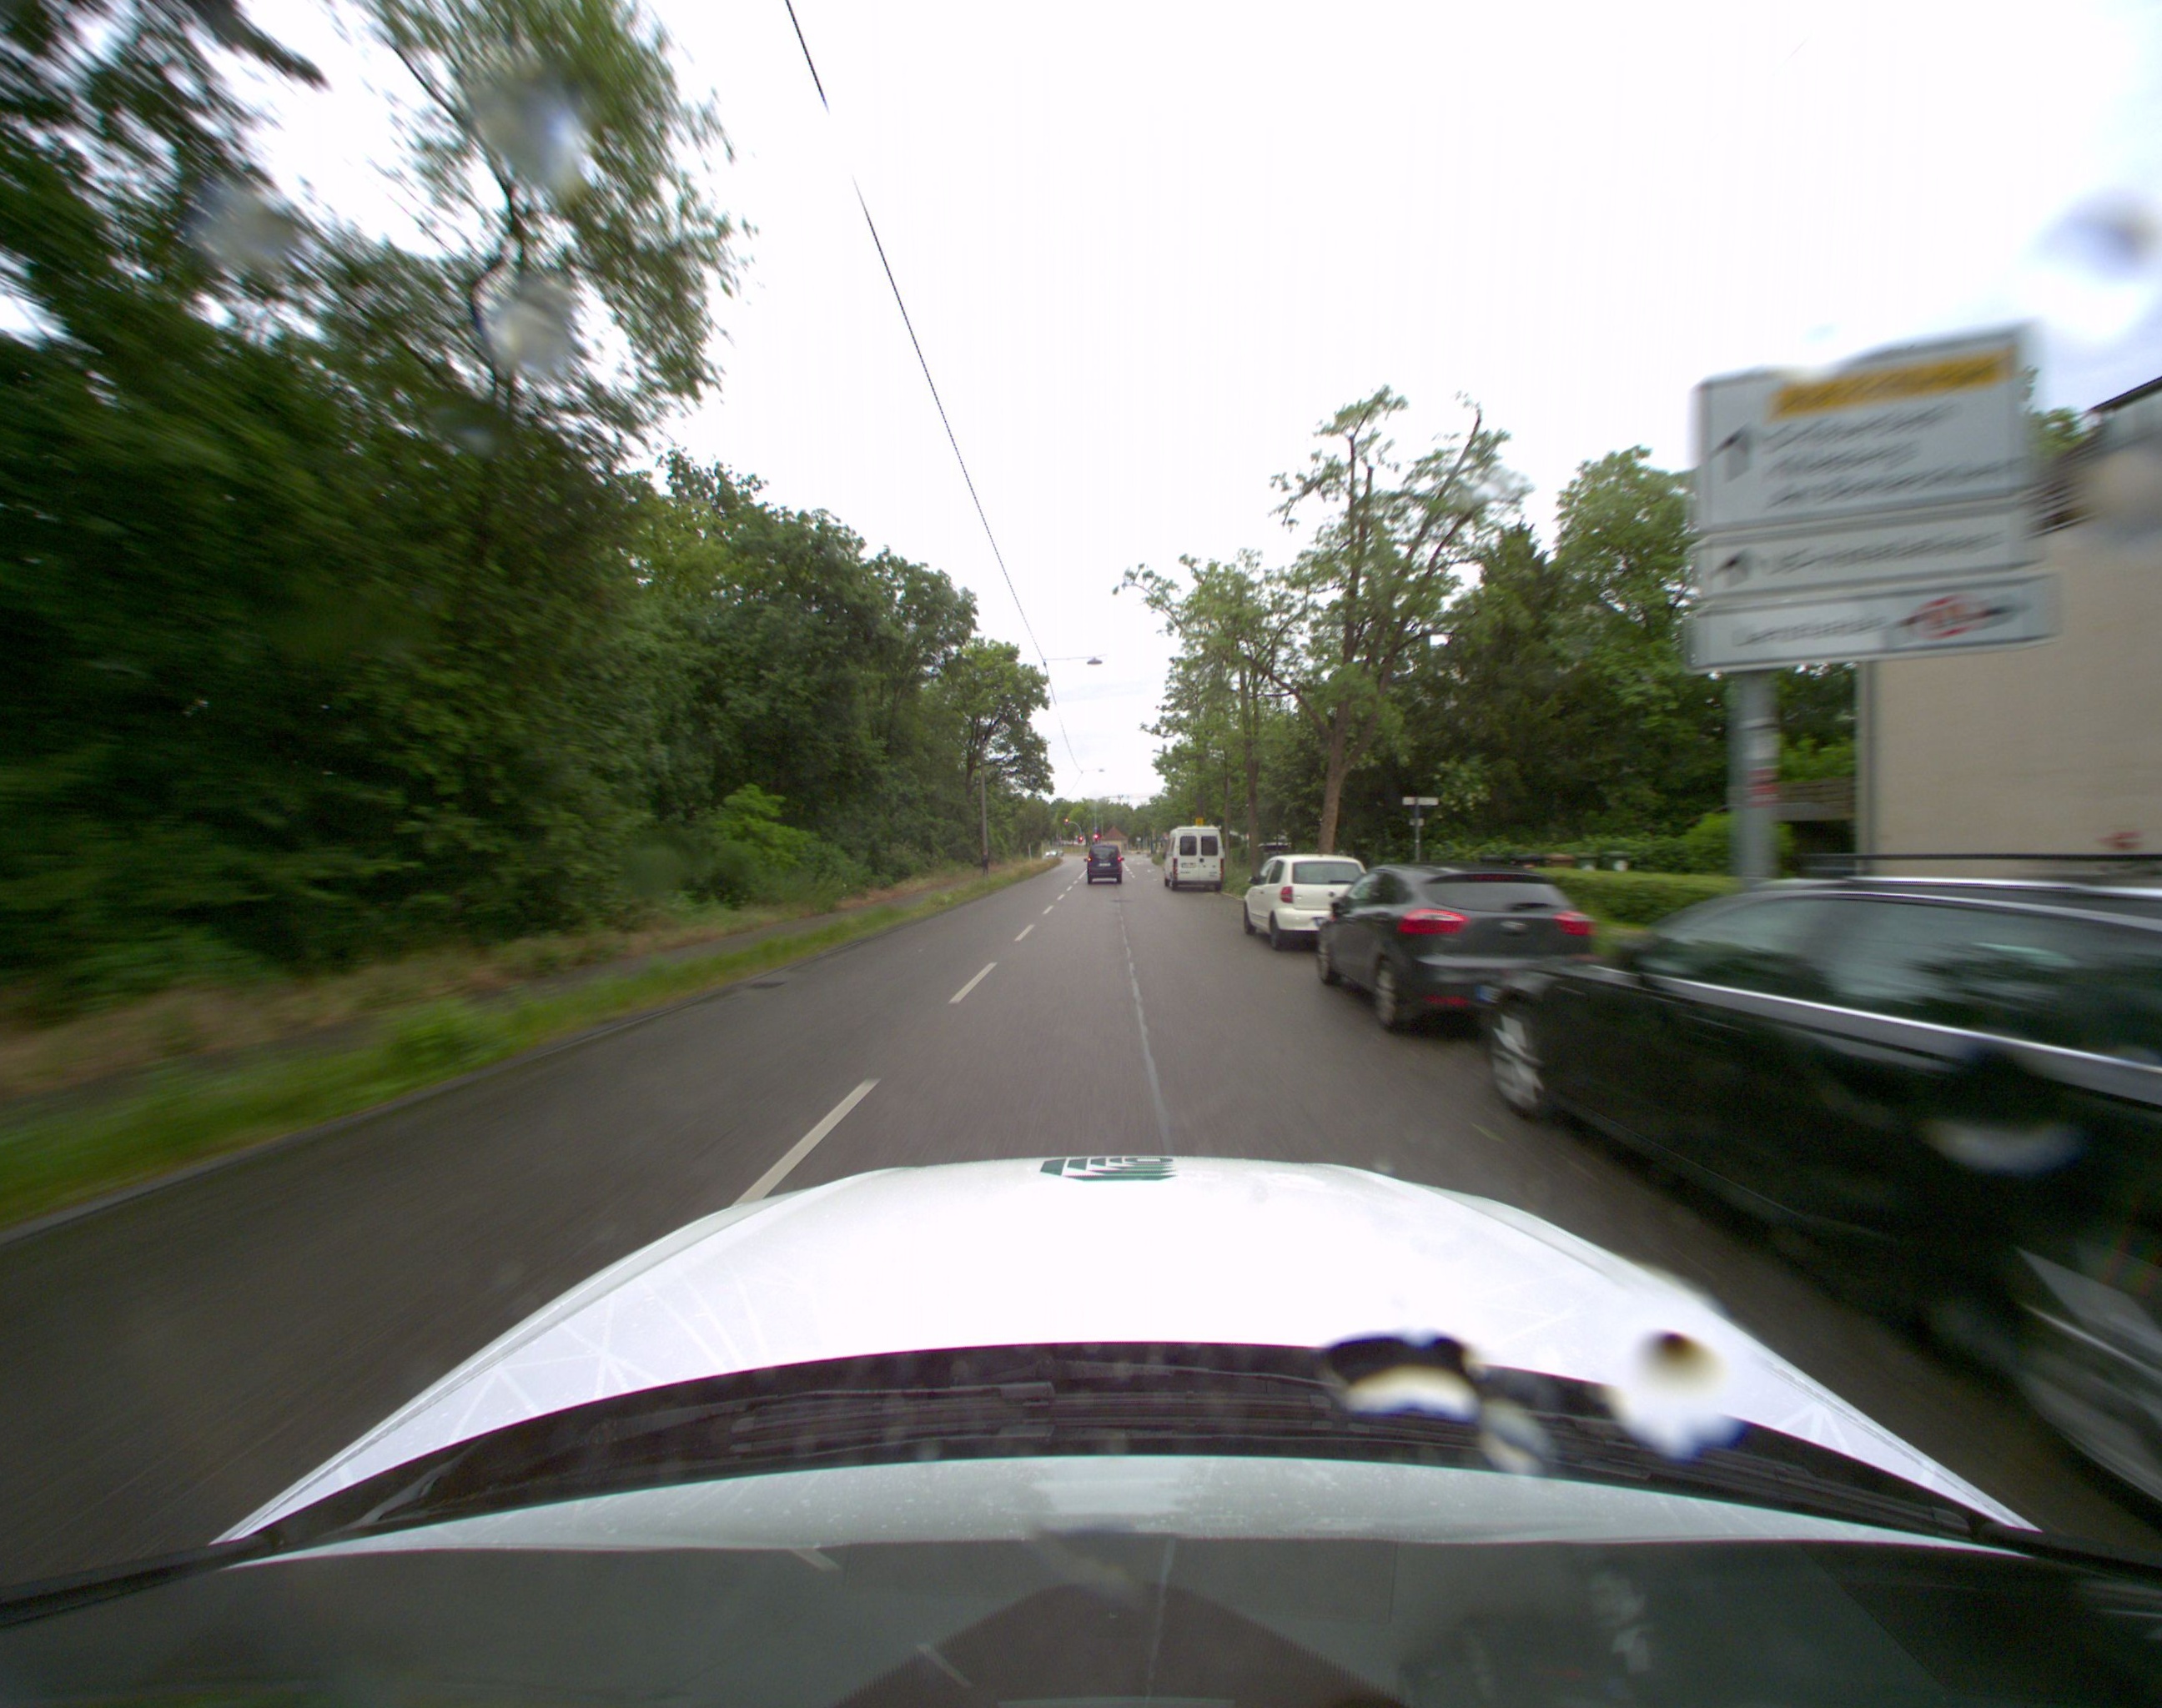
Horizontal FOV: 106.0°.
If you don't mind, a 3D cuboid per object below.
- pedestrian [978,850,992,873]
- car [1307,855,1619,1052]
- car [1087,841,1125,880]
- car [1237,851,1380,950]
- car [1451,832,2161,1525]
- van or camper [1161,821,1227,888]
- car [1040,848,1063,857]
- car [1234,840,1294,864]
[{"bbox_3d":[-6.755,0.504,57.342,0.778,1.607,0.732,-1,0,1],"label":"pedestrian"},{"bbox_3d":[3.492,0.764,8.268,1.609,1.470,3.949,0,0,5],"label":"car"},{"bbox_3d":[1.219,0.264,39.082,1.725,1.786,4.002,0,1,2],"label":"car"},{"bbox_3d":[3.776,0.688,14.118,1.565,1.472,3.767,0,0,2],"label":"car"},{"bbox_3d":[3.314,0.711,3.157,1.746,1.526,4.826,0,0,2],"label":"car"},{"bbox_3d":[4.558,-0.004,33.651,2.029,2.479,5.641,1,0,2],"label":"van or camper"},{"bbox_3d":[-5.554,-0.274,153.889,1.974,1.311,4.388,-3,1,33],"label":"car"},{"bbox_3d":[13.671,-0.158,60.952,4.275,1.817,1.881,0,1,12],"label":"car"}]
